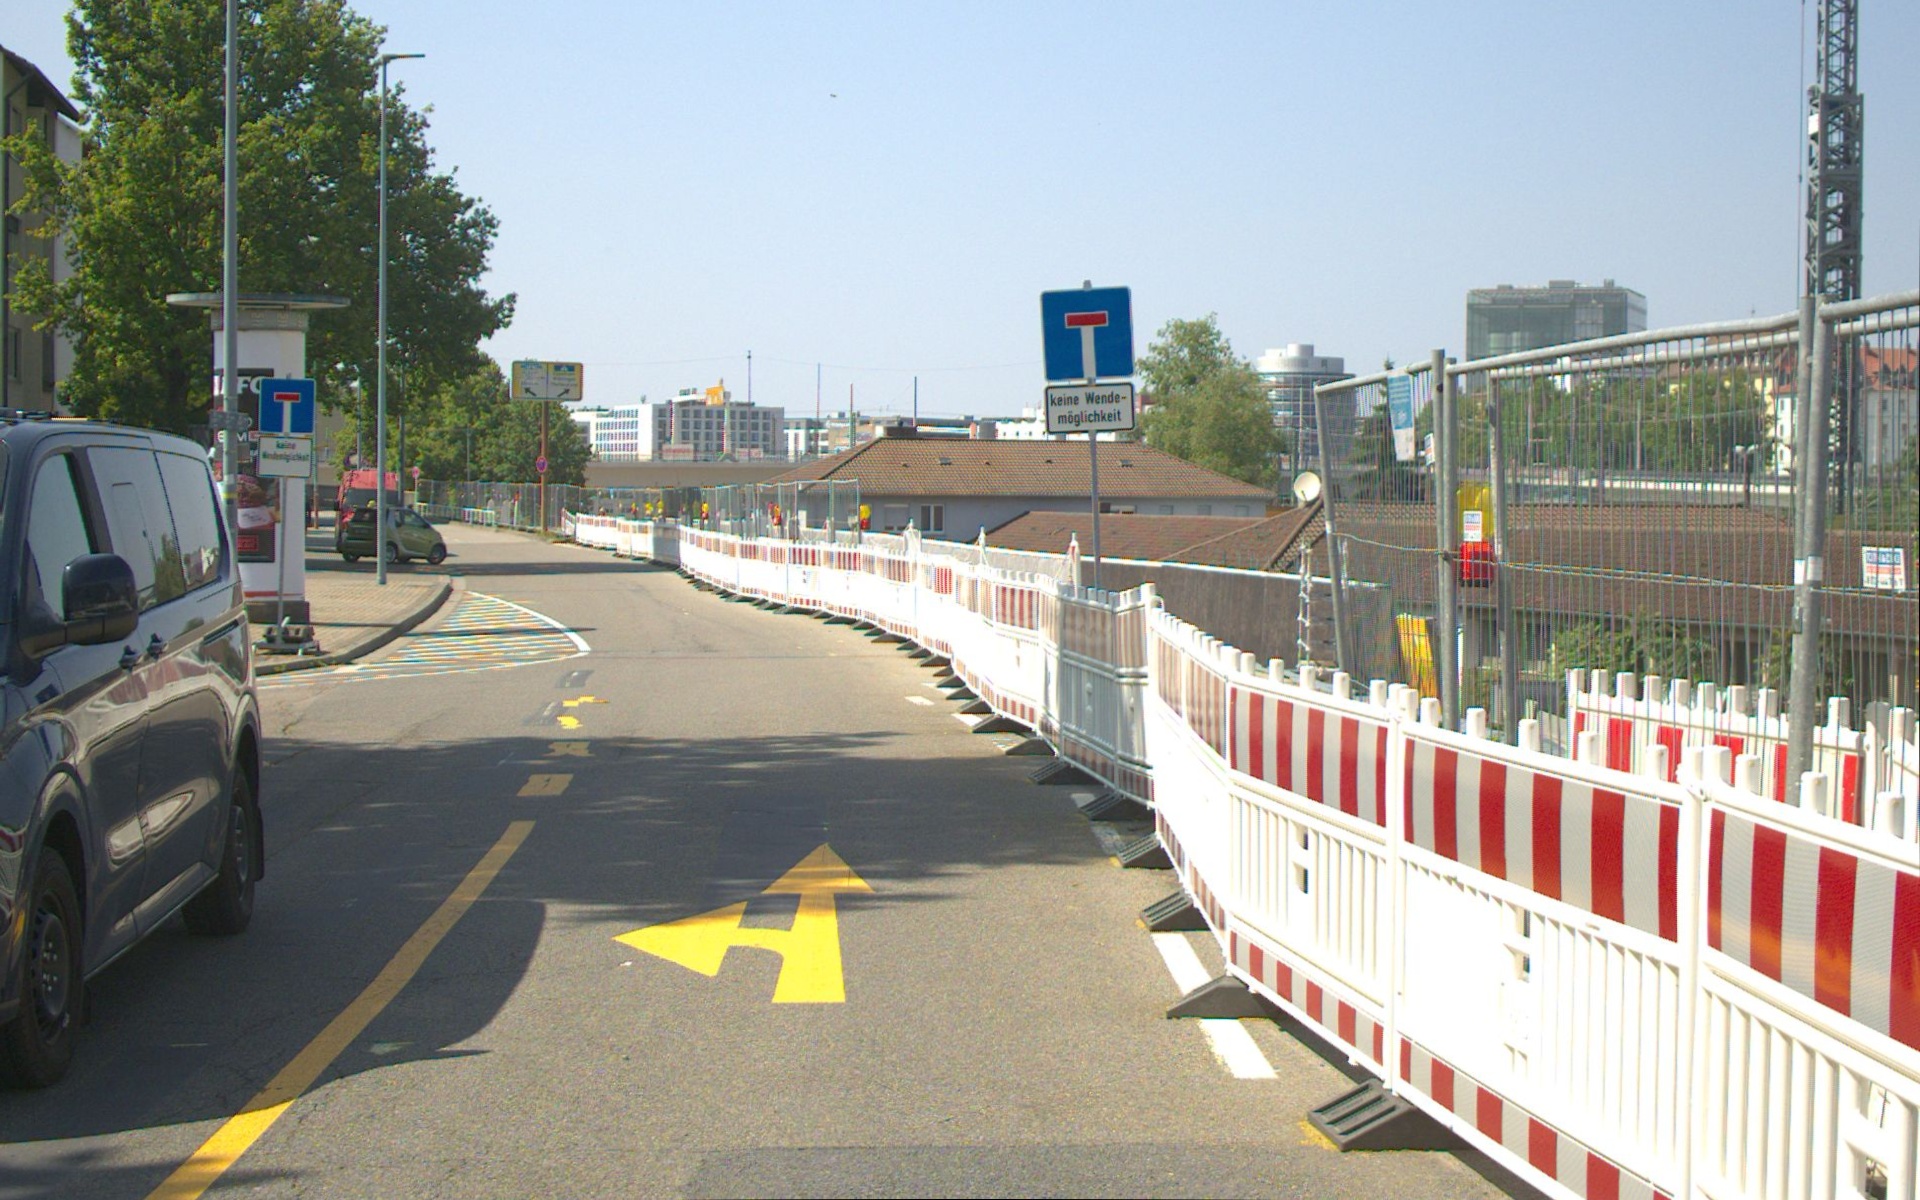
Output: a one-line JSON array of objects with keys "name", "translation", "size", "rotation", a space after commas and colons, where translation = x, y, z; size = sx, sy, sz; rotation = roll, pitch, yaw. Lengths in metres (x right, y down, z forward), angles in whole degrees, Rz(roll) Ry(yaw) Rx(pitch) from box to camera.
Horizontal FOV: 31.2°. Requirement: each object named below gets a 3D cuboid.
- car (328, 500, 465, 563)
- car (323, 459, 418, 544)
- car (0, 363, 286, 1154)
[{"name": "car", "translation": [-15.273, -1.846, 93.321], "size": [1.725, 1.632, 3.273], "rotation": [2, 1, 43]}, {"name": "car", "translation": [-18.323, -3.037, 107.044], "size": [2.537, 2.511, 5.119], "rotation": [1, 1, -6]}, {"name": "car", "translation": [-3.643, 0.343, 11.127], "size": [2.176, 1.961, 5.446], "rotation": [-1, 2, -4]}]
